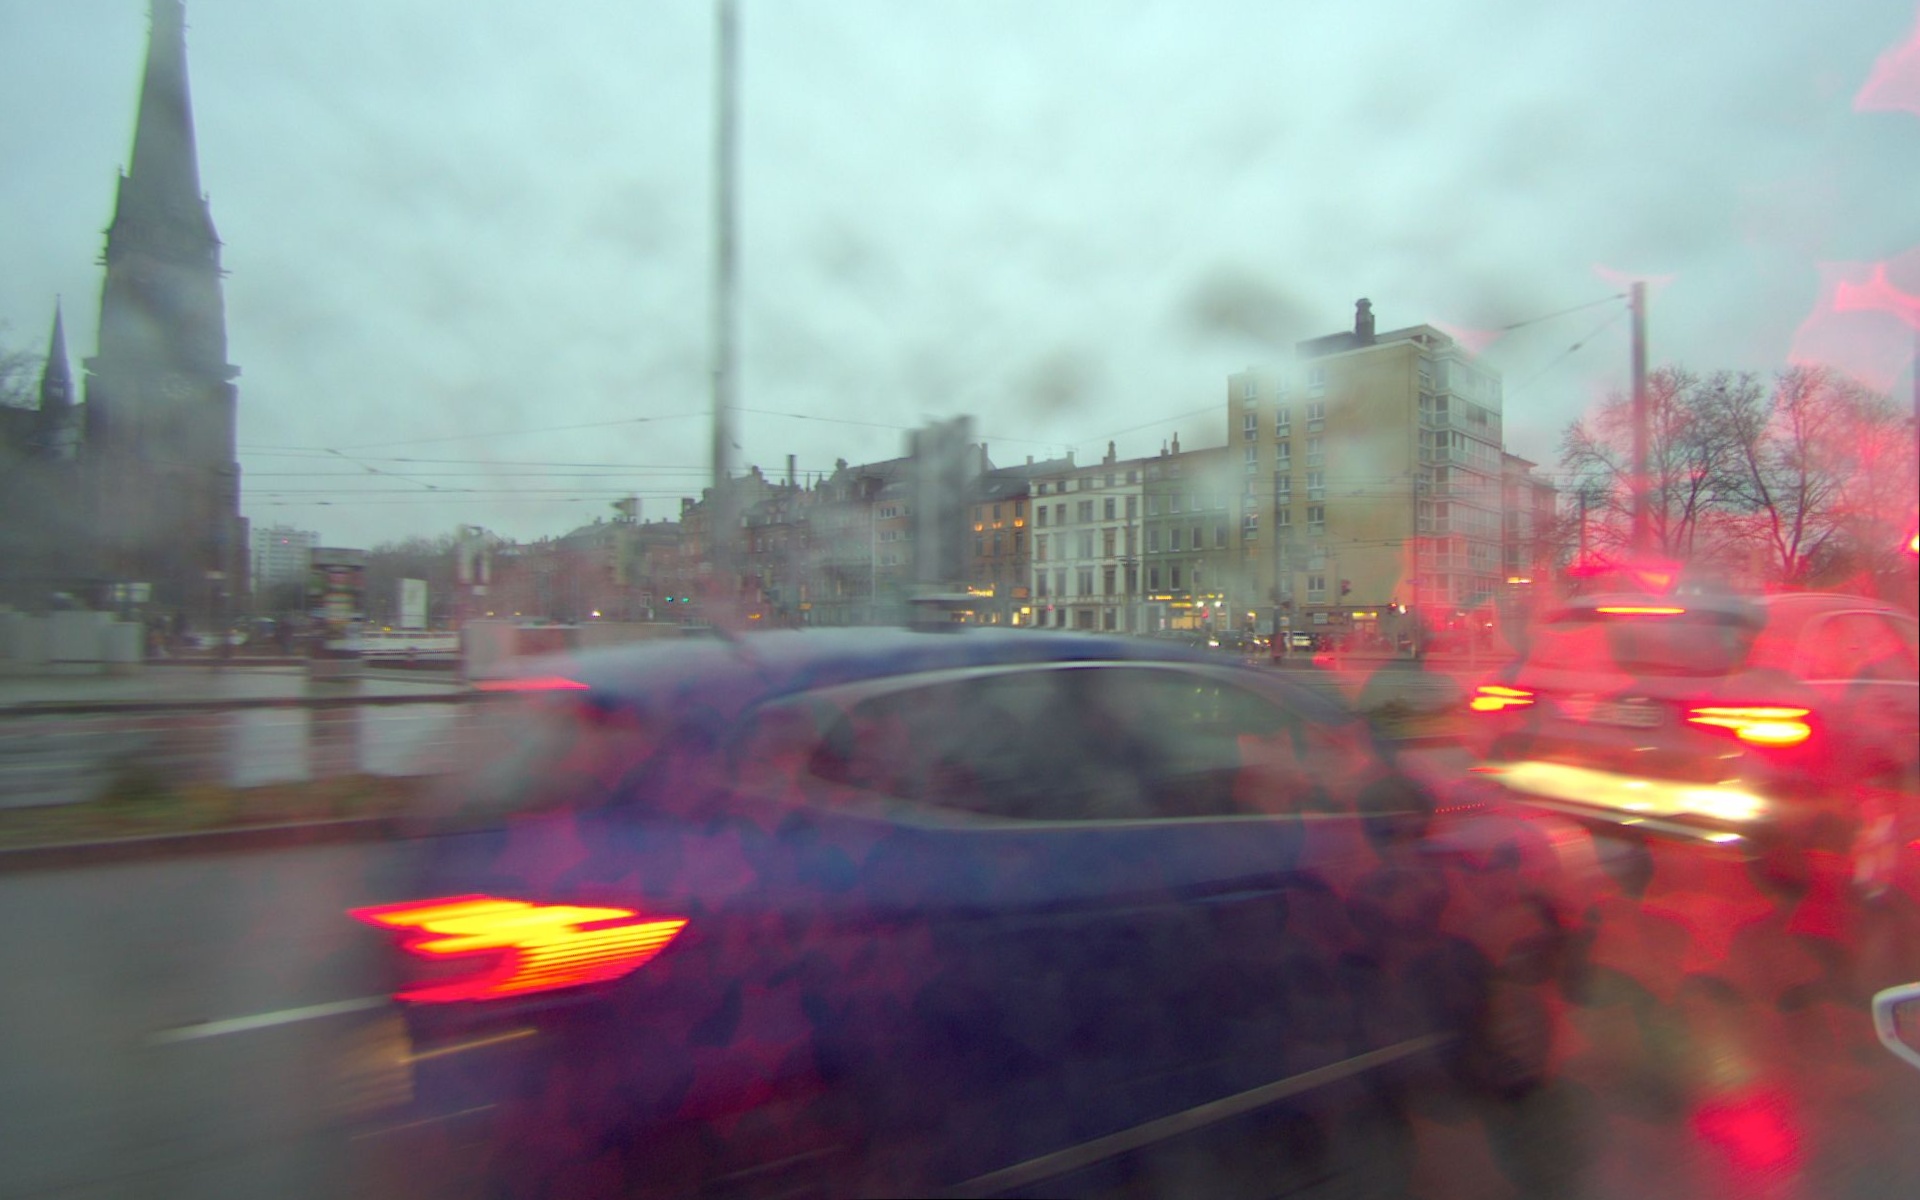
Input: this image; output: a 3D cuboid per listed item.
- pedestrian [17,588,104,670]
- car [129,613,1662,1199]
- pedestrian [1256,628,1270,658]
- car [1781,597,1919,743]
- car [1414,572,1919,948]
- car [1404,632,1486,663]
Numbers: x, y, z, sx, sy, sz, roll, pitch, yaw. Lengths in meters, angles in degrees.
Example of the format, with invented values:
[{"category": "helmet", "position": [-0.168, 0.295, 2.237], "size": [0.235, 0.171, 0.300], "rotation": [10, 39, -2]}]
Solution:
[{"category": "pedestrian", "position": [-21.905, 0.718, 24.486], "size": [1.041, 1.944, 1.124], "rotation": [0, -2, 3]}, {"category": "car", "position": [0.261, 0.804, 3.022], "size": [4.077, 1.423, 1.649], "rotation": [2, 0, -34]}, {"category": "pedestrian", "position": [18.765, 2.645, 62.280], "size": [0.621, 1.826, 0.569], "rotation": [-1, -2, 45]}, {"category": "car", "position": [13.311, 0.913, 13.811], "size": [3.953, 1.795, 1.876], "rotation": [1, -1, -30]}, {"category": "car", "position": [5.048, 0.725, 6.239], "size": [4.488, 1.622, 1.776], "rotation": [2, 0, -31]}, {"category": "car", "position": [28.880, 2.796, 59.877], "size": [3.946, 1.795, 1.988], "rotation": [-2, -3, 45]}]
